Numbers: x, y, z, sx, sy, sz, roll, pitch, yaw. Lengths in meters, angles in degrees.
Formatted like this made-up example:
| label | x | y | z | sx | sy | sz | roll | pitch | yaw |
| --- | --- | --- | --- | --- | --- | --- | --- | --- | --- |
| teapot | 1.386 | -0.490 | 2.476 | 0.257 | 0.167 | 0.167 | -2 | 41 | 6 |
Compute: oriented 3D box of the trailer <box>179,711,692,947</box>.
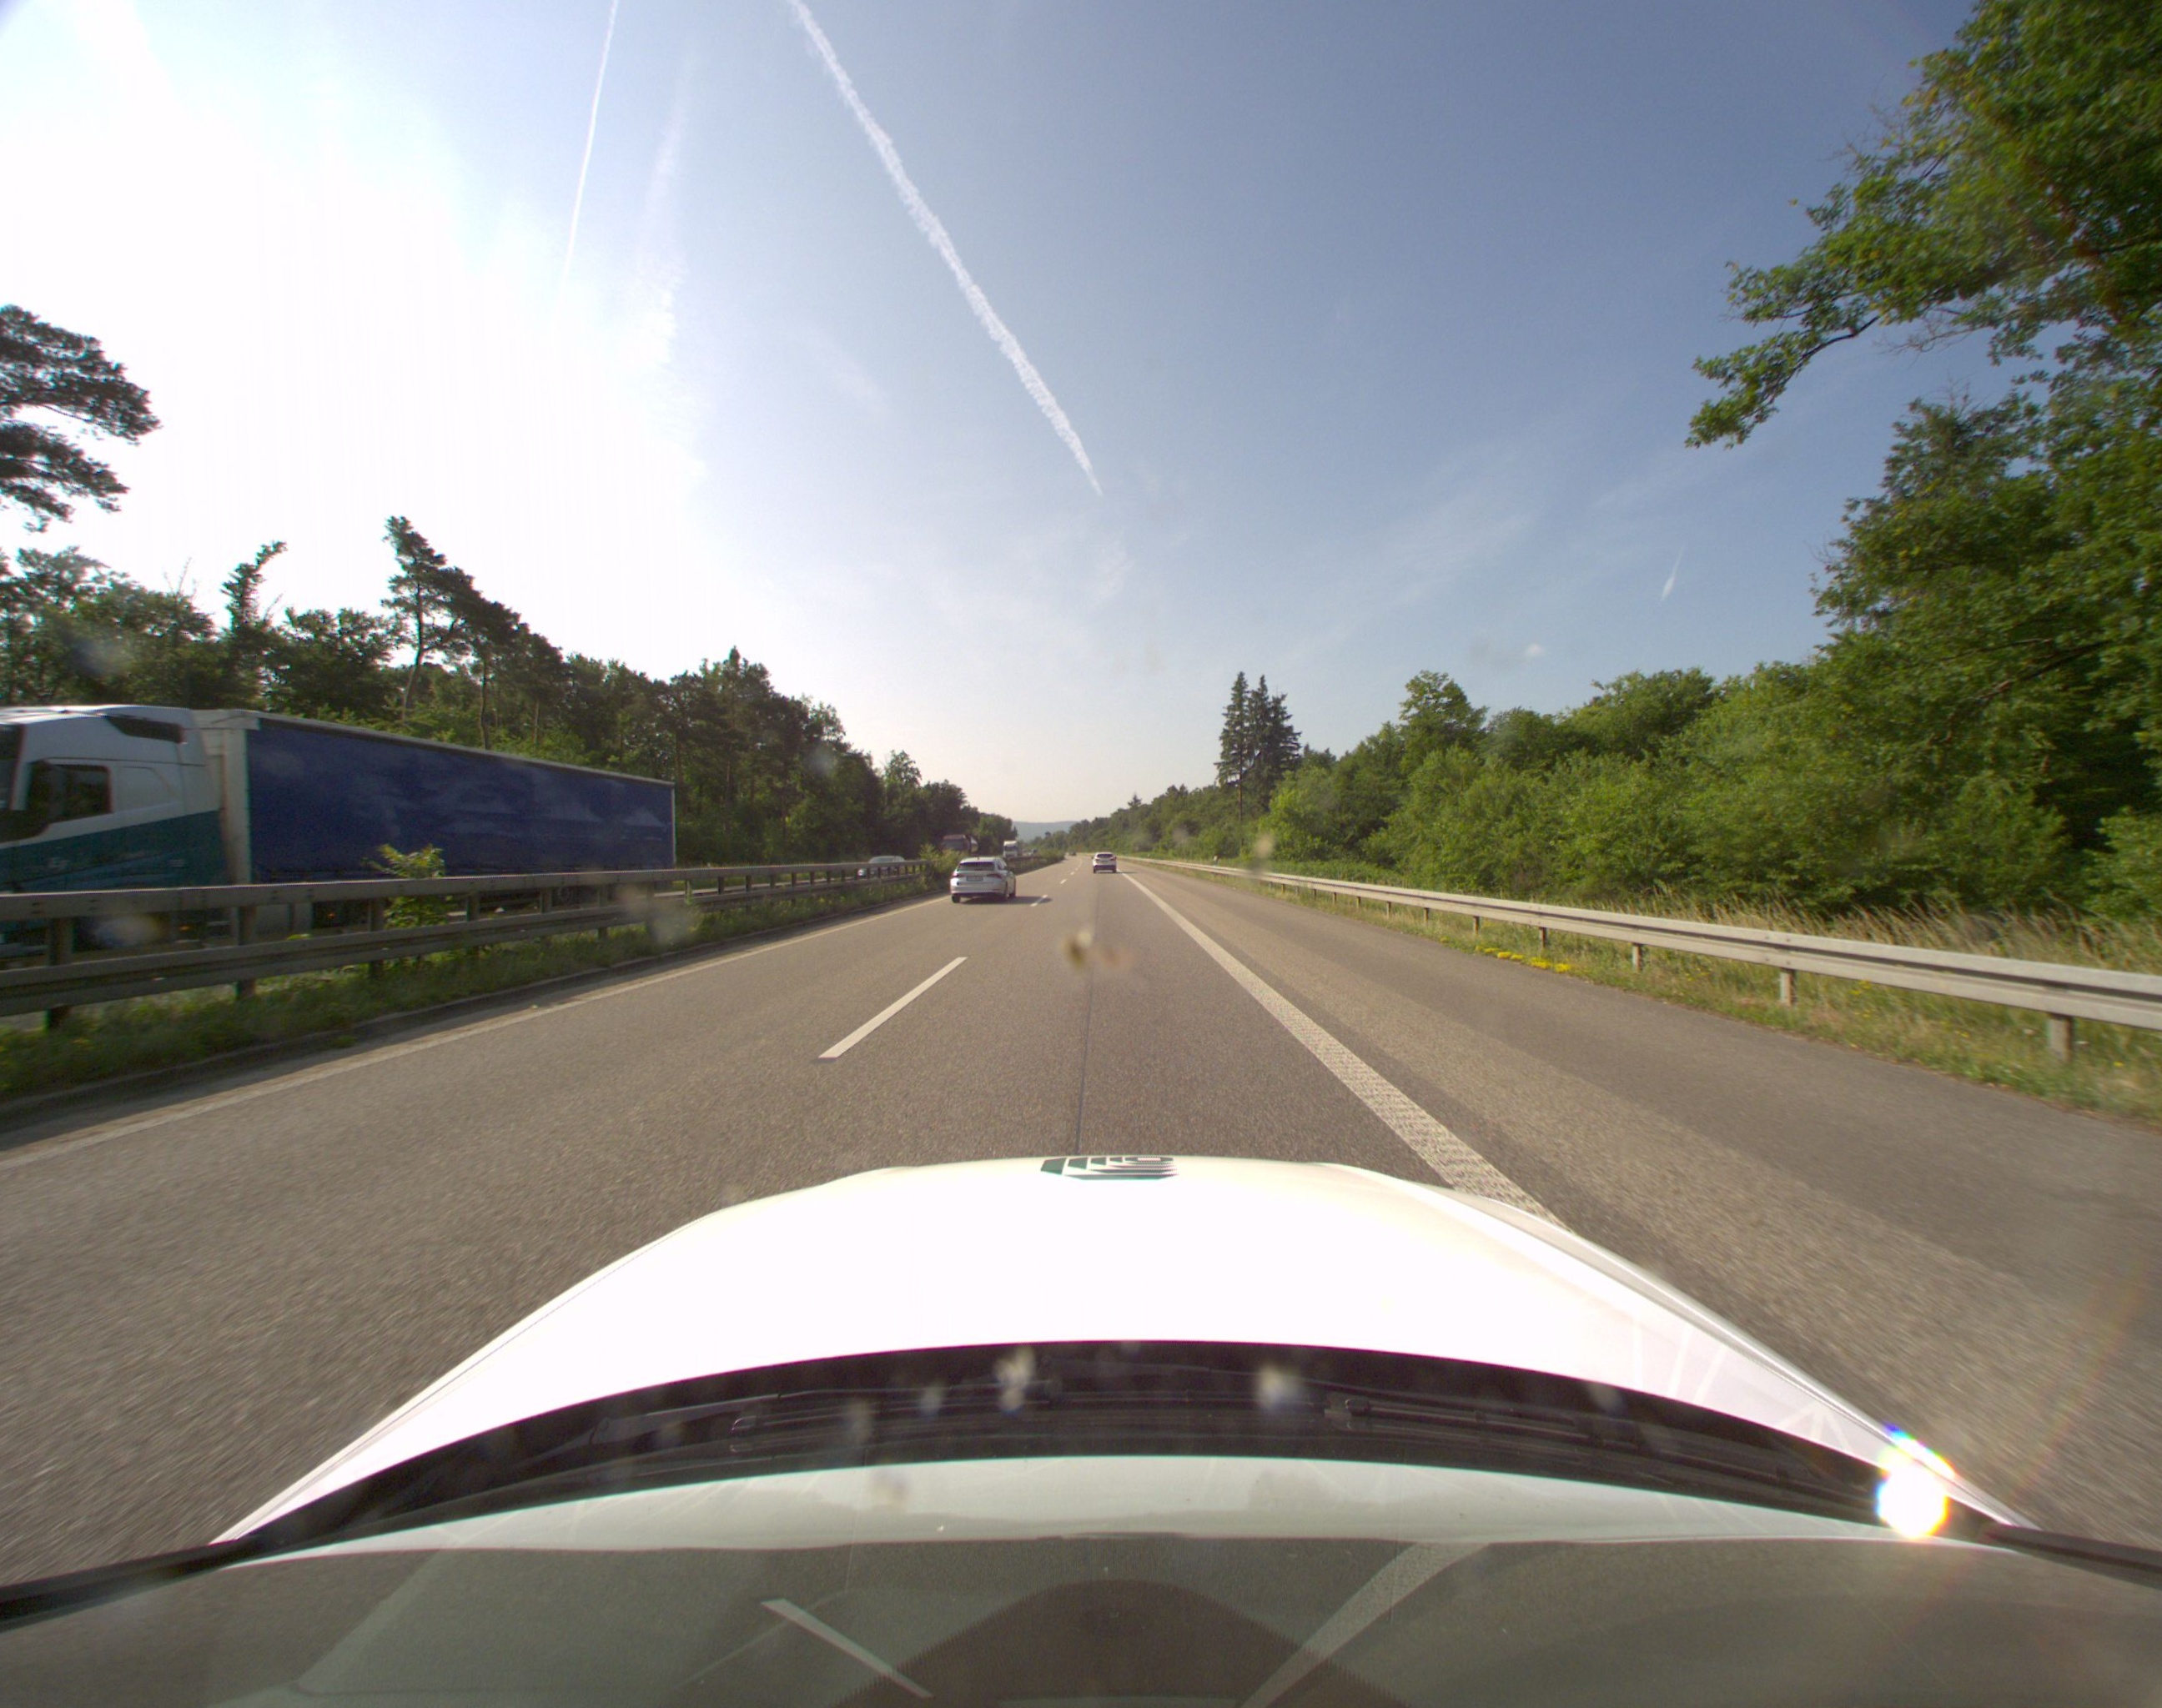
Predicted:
| label | x | y | z | sx | sy | sz | roll | pitch | yaw |
| --- | --- | --- | --- | --- | --- | --- | --- | --- | --- |
| trailer | -14.847 | -0.459 | 21.325 | 2.682 | 4.200 | 13.083 | -2 | 0 | 1 |

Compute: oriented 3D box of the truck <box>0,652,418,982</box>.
| label | x | y | z | sx | sy | sz | roll | pitch | yaw |
| --- | --- | --- | --- | --- | --- | --- | --- | --- | --- |
| truck | -15.025 | -0.441 | 13.508 | 2.699 | 4.200 | 6.295 | -2 | 0 | 1 |

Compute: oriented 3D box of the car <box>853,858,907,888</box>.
| label | x | y | z | sx | sy | sz | roll | pitch | yaw |
| --- | --- | --- | --- | --- | --- | --- | --- | --- | --- |
| car | -10.447 | 0.935 | 42.701 | 1.698 | 1.449 | 4.581 | 0 | 0 | 0 |

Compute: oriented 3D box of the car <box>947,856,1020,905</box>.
| label | x | y | z | sx | sy | sz | roll | pitch | yaw |
| --- | --- | --- | --- | --- | --- | --- | --- | --- | --- |
| car | -3.224 | 0.810 | 27.844 | 1.786 | 1.438 | 5.278 | -2 | 0 | 0 |

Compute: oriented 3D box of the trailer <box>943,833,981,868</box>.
| label | x | y | z | sx | sy | sz | roll | pitch | yaw |
| --- | --- | --- | --- | --- | --- | --- | --- | --- | --- |
| trailer | -14.199 | -0.354 | 98.037 | 3.284 | 4.039 | 8.372 | 0 | 0 | 0 |

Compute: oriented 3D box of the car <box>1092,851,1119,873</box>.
| label | x | y | z | sx | sy | sz | roll | pitch | yaw |
| --- | --- | --- | --- | --- | --- | --- | --- | --- | --- |
| car | 1.901 | 0.591 | 63.400 | 1.868 | 1.586 | 3.998 | 1 | 0 | -2 |

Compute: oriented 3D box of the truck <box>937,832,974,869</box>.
| label | x | y | z | sx | sy | sz | roll | pitch | yaw |
| --- | --- | --- | --- | --- | --- | --- | --- | --- | --- |
| truck | -14.227 | -0.409 | 92.961 | 3.256 | 4.039 | 6.232 | 0 | -1 | 0 |

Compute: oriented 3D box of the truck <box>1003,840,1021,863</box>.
| label | x | y | z | sx | sy | sz | roll | pitch | yaw |
| --- | --- | --- | --- | --- | --- | --- | --- | --- | --- |
| truck | -13.366 | -0.501 | 158.702 | 2.829 | 4.196 | 5.545 | -2 | 0 | 0 |
